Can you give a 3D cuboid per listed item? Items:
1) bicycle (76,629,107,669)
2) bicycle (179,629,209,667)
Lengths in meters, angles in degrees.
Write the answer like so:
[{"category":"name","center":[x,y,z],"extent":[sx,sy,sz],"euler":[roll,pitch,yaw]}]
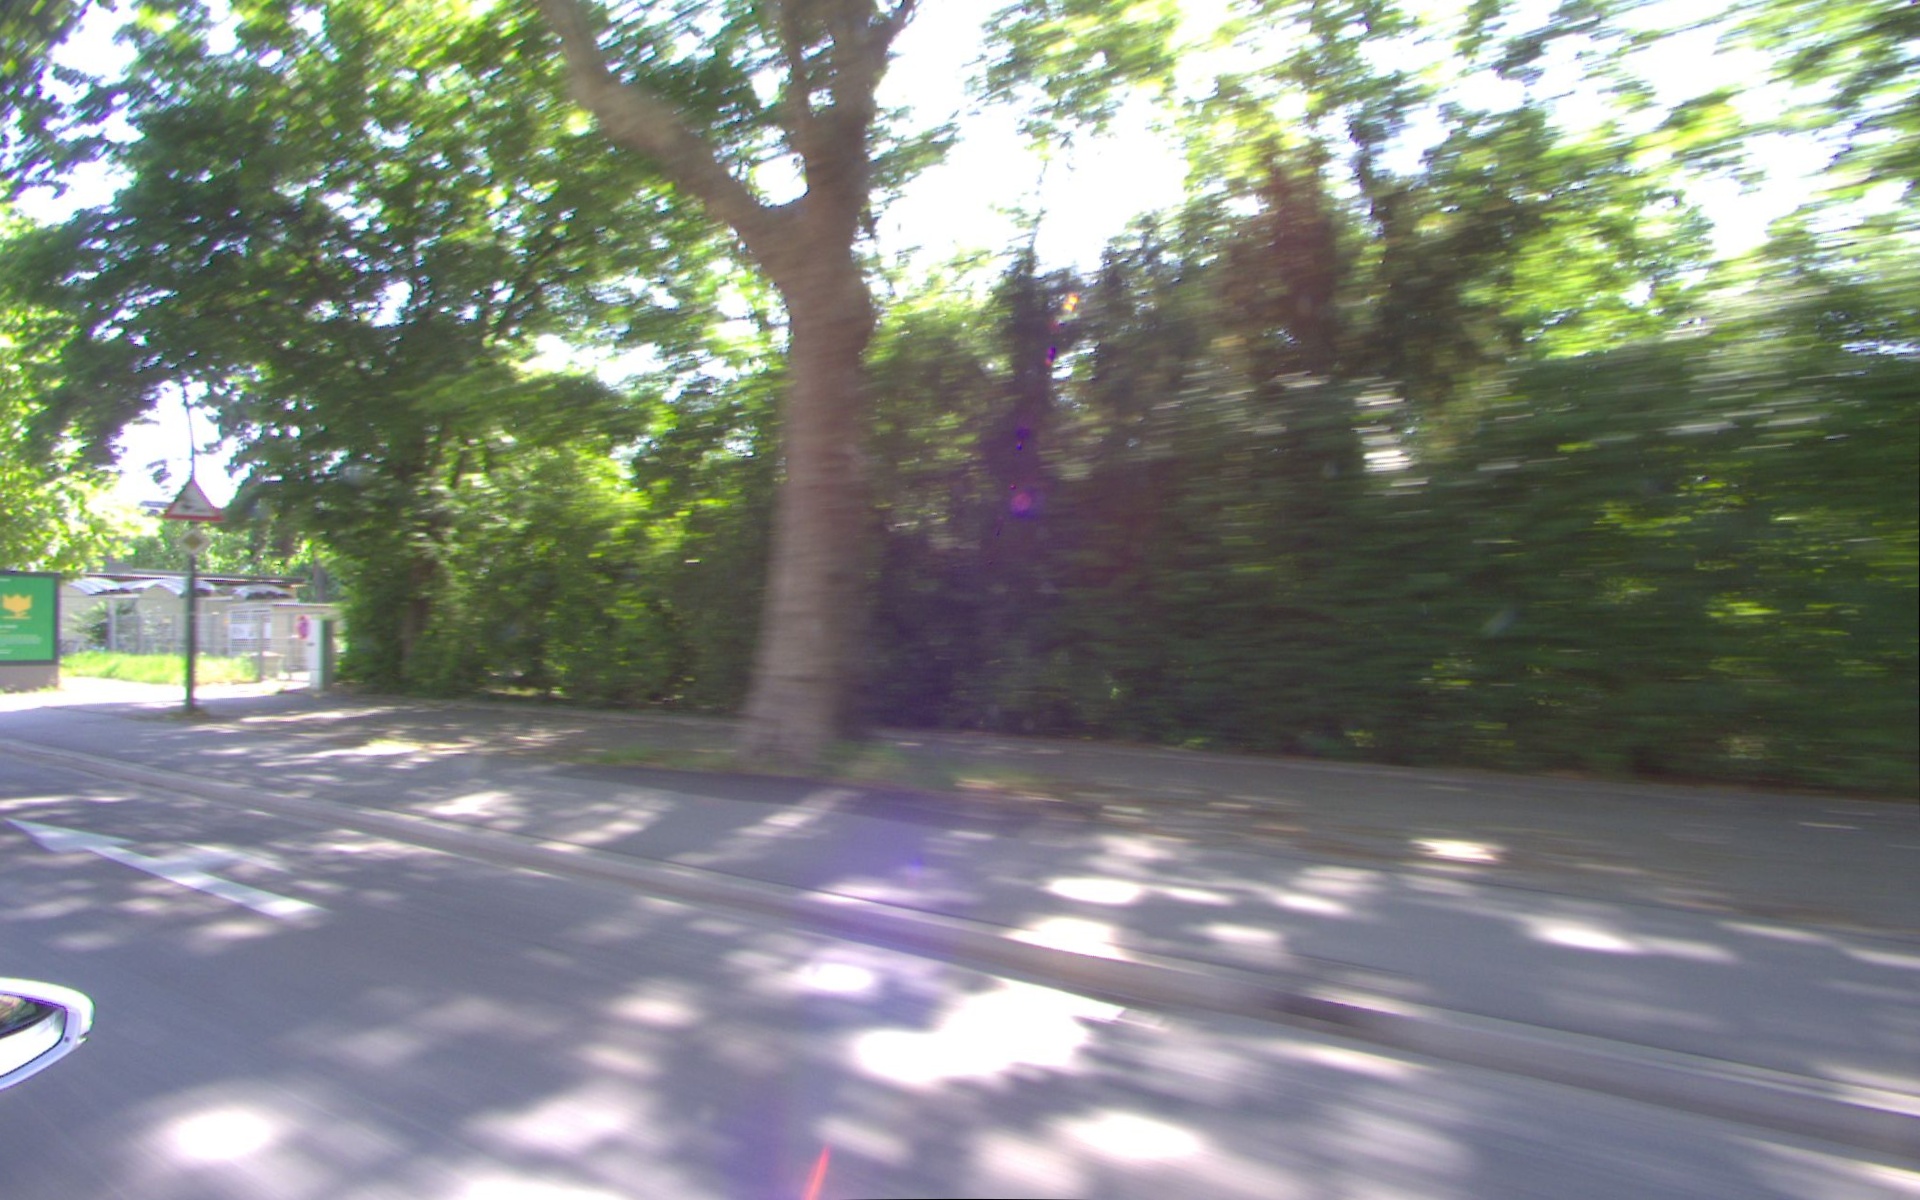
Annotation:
[{"category":"bicycle","center":[-26.574,1.487,30.628],"extent":[1.157,1.195,0.388],"euler":[0,-2,33]},{"category":"bicycle","center":[-24.686,1.553,32.263],"extent":[1.157,1.195,0.388],"euler":[0,-2,33]}]
